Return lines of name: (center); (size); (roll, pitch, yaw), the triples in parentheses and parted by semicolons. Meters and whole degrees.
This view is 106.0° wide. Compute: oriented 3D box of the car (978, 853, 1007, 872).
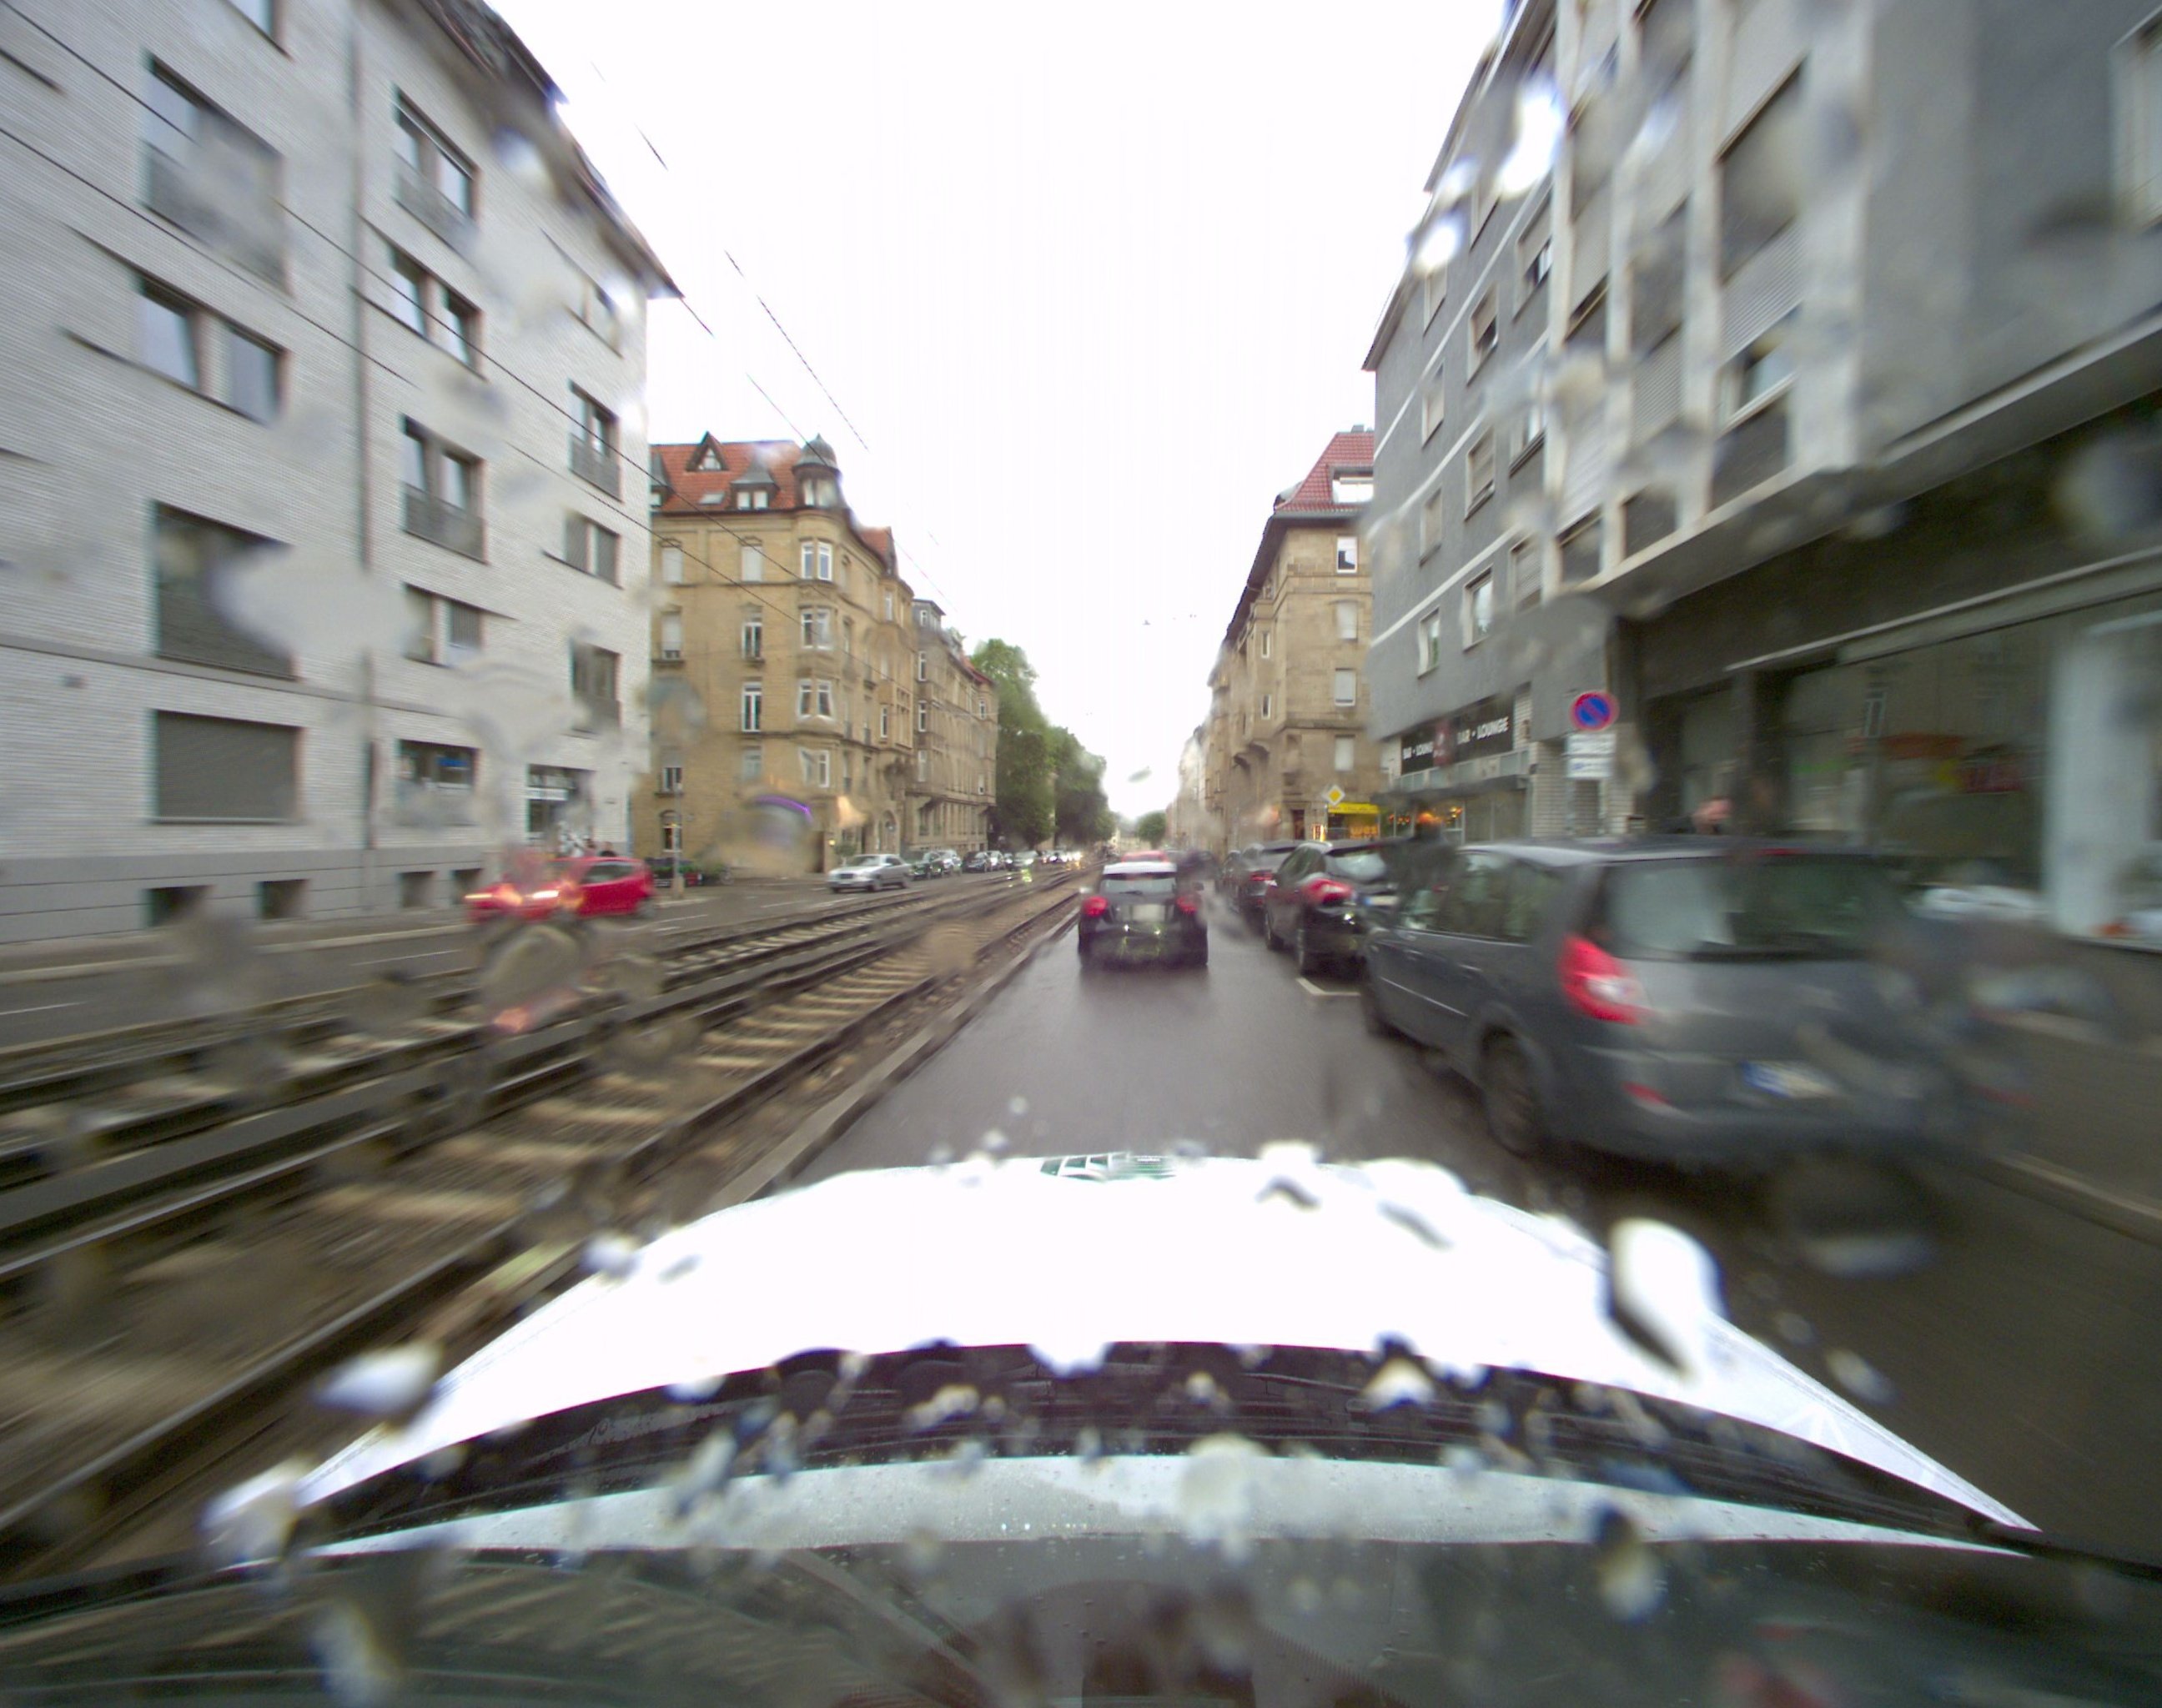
car: (-6.996, 0.666, 64.526); (1.561, 1.413, 3.487); (-1, 0, 6)

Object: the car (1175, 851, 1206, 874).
car: (6.479, 0.477, 48.451); (1.606, 1.317, 4.005); (-1, 0, 5)

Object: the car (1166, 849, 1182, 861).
car: (10.539, 0.067, 92.324); (1.606, 1.317, 4.005); (-1, 0, 5)

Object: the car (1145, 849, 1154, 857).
car: (12.518, -0.220, 149.722); (1.606, 1.317, 4.005); (-1, 0, 5)

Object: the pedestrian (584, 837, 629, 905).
pedestrian: (-12.856, 0.456, 22.094); (0.626, 1.787, 0.882); (-2, -1, 4)

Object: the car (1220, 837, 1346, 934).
car: (3.923, 0.536, 16.592); (1.742, 1.670, 4.710); (-1, 0, 5)

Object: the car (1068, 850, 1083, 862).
car: (-0.672, 0.235, 103.600); (1.561, 1.413, 3.487); (-1, 0, 6)

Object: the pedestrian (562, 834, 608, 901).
pedestrian: (-13.463, 0.368, 22.123); (0.637, 1.787, 0.924); (-2, -1, 4)

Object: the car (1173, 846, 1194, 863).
car: (8.736, 0.029, 69.931); (1.606, 1.317, 4.005); (-1, 0, 5)

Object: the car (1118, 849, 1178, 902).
car: (1.997, 0.577, 24.418); (1.642, 1.452, 4.005); (0, 1, 4)

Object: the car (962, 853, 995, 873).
car: (-7.463, 0.650, 59.418); (1.561, 1.316, 3.487); (-1, 0, 6)

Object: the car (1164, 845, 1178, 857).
car: (11.036, -0.388, 99.717); (1.606, 1.317, 4.005); (-1, 0, 5)

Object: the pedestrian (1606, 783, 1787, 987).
pedestrian: (5.696, 0.266, 7.615); (0.941, 1.769, 1.016); (-1, 0, 3)

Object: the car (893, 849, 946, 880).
car: (-8.743, 0.528, 44.421); (1.713, 1.541, 3.941); (-1, 0, 6)

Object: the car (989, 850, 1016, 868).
car: (-6.741, 0.423, 70.269); (1.561, 1.413, 3.487); (-1, 0, 6)

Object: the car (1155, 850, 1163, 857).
car: (17.124, -0.113, 179.128); (1.606, 1.317, 4.005); (-1, 0, 5)

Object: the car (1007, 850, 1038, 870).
car: (-4.355, 0.423, 61.463); (1.686, 1.388, 3.487); (-1, 0, 6)

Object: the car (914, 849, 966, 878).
car: (-8.362, 0.536, 48.715); (1.797, 1.597, 4.534); (-1, 0, 6)

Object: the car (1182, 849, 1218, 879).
car: (6.311, 0.476, 43.441); (1.614, 1.484, 4.005); (-1, 0, 5)

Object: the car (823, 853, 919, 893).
car: (-8.024, 0.676, 31.639); (1.795, 1.360, 4.776); (-1, 0, 9)

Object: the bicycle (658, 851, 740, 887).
bicycle: (-18.017, 0.683, 38.522); (3.142, 1.584, 1.594); (-1, 0, -6)

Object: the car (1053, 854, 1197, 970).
car: (0.792, 0.750, 12.586); (1.857, 1.452, 4.007); (0, 1, 6)

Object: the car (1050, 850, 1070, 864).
car: (-2.196, 0.320, 86.477); (1.561, 1.413, 3.487); (-1, 0, 6)

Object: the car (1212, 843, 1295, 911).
car: (4.456, 0.536, 21.528); (1.606, 1.605, 4.005); (-1, 0, 5)

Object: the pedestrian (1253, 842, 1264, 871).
pedestrian: (9.007, 0.105, 41.381); (0.452, 1.466, 0.611); (0, 0, 4)

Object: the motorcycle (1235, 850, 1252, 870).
motorcycle: (11.062, 0.423, 55.476); (0.876, 1.315, 2.399); (0, 0, 4)

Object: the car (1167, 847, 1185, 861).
car: (9.215, -0.018, 78.946); (1.606, 1.317, 4.005); (-1, 0, 5)

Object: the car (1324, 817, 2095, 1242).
car: (3.034, 0.650, 5.420); (1.757, 1.559, 4.752); (-1, 0, 5)

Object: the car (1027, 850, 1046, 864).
car: (-4.857, 0.299, 89.249); (1.561, 1.413, 3.487); (-1, 0, 6)

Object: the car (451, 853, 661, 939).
car: (-10.430, 0.762, 16.502); (1.672, 1.497, 3.525); (-1, 0, 6)

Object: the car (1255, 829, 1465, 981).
car: (3.548, 0.559, 11.140); (1.675, 1.670, 4.127); (-1, 0, 4)
